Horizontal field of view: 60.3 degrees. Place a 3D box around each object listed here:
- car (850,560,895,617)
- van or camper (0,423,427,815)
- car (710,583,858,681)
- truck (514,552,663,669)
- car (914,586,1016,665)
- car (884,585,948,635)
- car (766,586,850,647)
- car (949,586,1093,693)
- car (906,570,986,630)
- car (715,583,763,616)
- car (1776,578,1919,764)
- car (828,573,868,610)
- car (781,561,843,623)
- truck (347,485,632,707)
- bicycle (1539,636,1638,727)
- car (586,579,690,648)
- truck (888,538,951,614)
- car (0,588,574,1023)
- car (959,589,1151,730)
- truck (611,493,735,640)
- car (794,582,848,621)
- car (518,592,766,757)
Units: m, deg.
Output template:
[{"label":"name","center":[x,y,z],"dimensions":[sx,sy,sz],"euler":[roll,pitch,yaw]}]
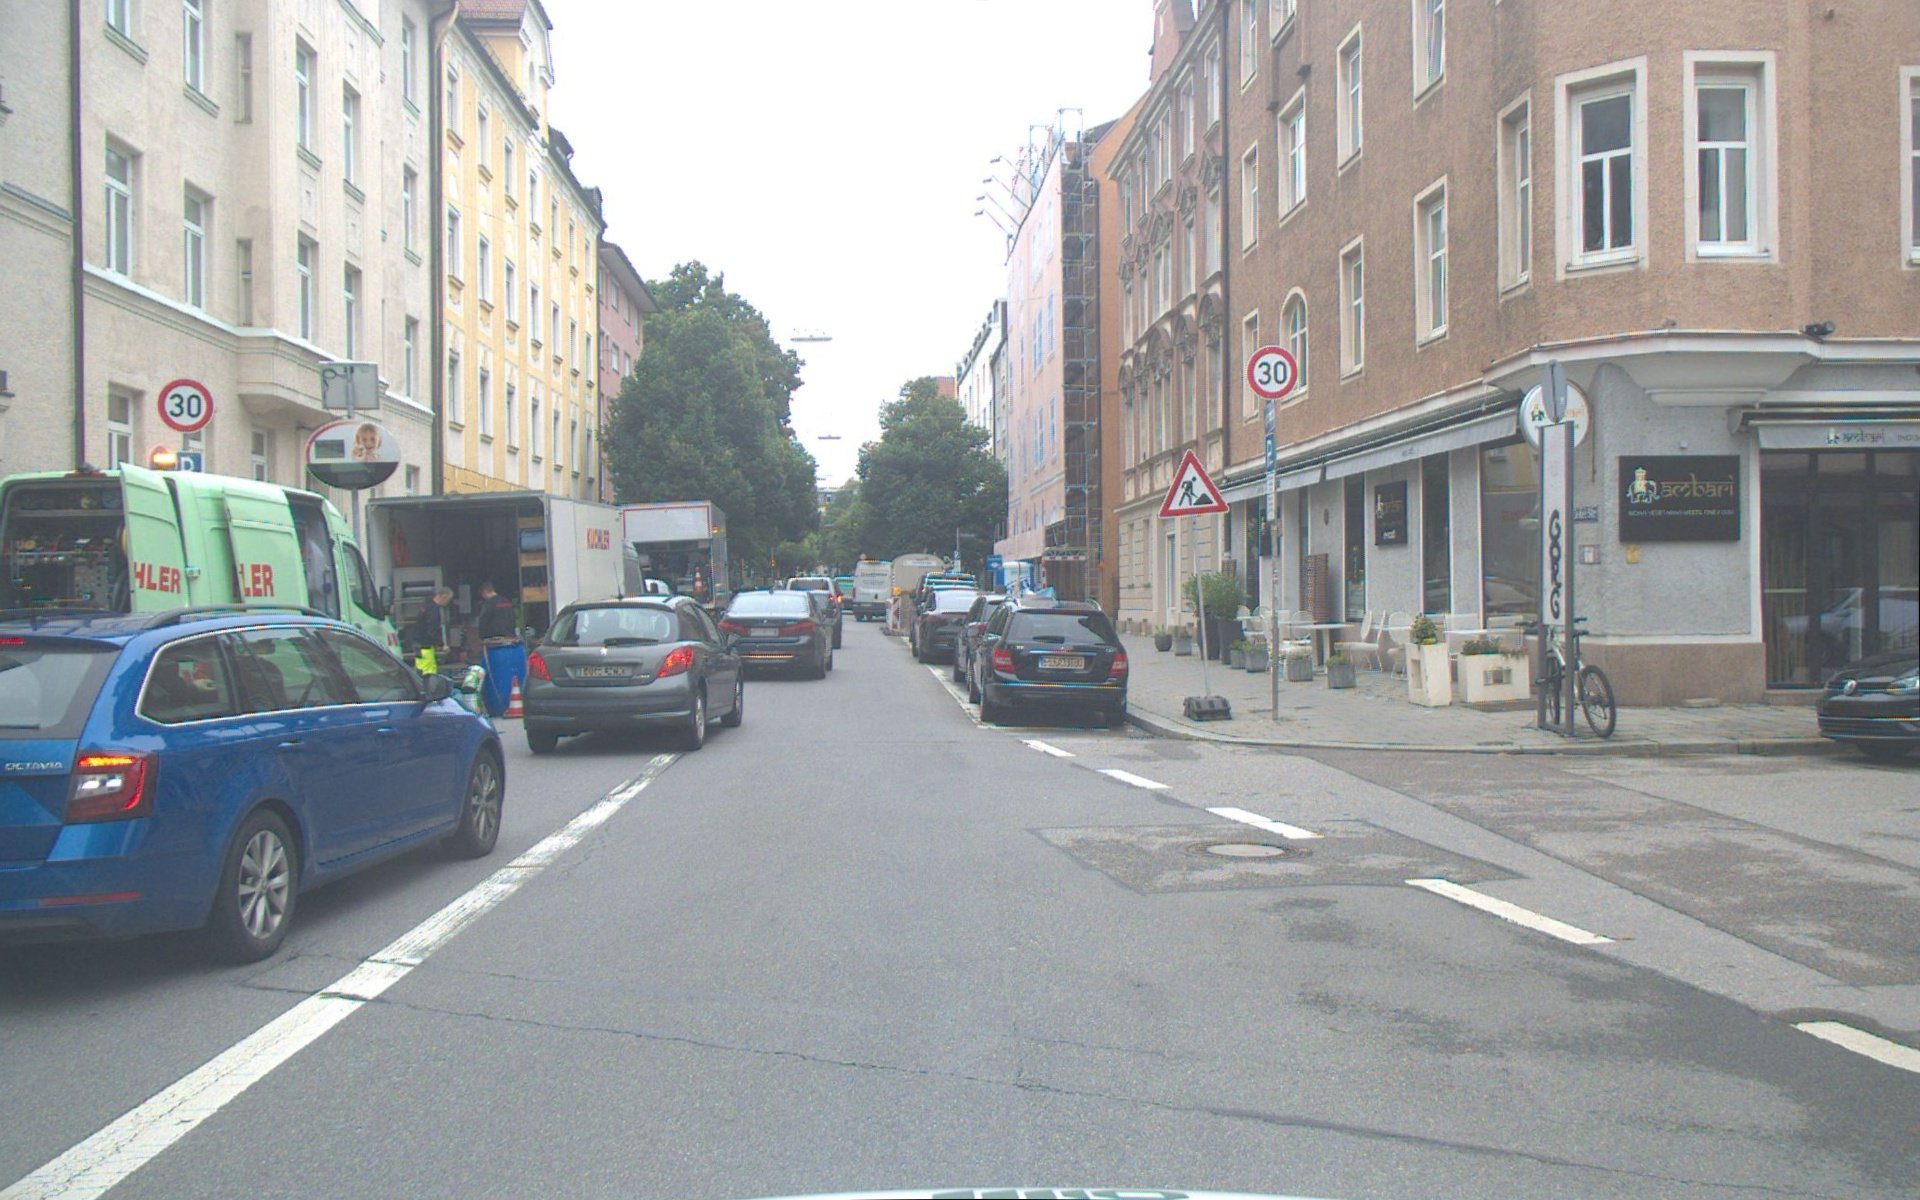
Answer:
[{"label":"car","center":[-3.991,-0.520,75.847],"dimensions":[1.900,2.523,4.781],"euler":[0,0,-1]},{"label":"van or camper","center":[-7.122,0.079,15.326],"dimensions":[2.548,2.889,6.183],"euler":[-1,1,-2]},{"label":"car","center":[-2.942,0.481,28.682],"dimensions":[1.949,1.454,4.906],"euler":[-1,1,1]},{"label":"truck","center":[-7.488,0.180,33.820],"dimensions":[2.241,2.209,4.803],"euler":[0,0,-4]},{"label":"car","center":[0.039,0.496,35.205],"dimensions":[1.808,1.454,4.303],"euler":[2,1,-4]},{"label":"car","center":[-1.427,0.289,52.781],"dimensions":[1.950,1.454,4.139],"euler":[-1,1,-3]},{"label":"car","center":[-3.906,0.392,43.085],"dimensions":[1.950,1.454,4.139],"euler":[-1,1,-3]},{"label":"car","center":[0.896,0.564,26.474],"dimensions":[1.808,1.454,4.137],"euler":[2,1,-4]},{"label":"car","center":[-0.417,-0.046,43.079],"dimensions":[1.950,1.454,4.139],"euler":[-1,1,-3]},{"label":"car","center":[-10.094,-0.025,75.795],"dimensions":[1.901,1.473,3.863],"euler":[0,0,-4]},{"label":"car","center":[9.466,0.560,14.075],"dimensions":[4.086,1.454,1.924],"euler":[-1,-2,-3]},{"label":"car","center":[-6.146,-0.465,90.857],"dimensions":[1.953,1.937,3.999],"euler":[0,0,-1]},{"label":"car","center":[-5.214,-0.325,58.719],"dimensions":[1.950,2.111,4.139],"euler":[-1,1,-3]},{"label":"truck","center":[-6.969,-0.128,25.614],"dimensions":[2.718,2.923,7.197],"euler":[-1,1,-4]},{"label":"bicycle","center":[6.119,0.777,16.159],"dimensions":[0.447,0.819,1.326],"euler":[0,0,-1]},{"label":"car","center":[-7.954,0.313,41.181],"dimensions":[1.950,1.639,4.138],"euler":[0,0,-3]},{"label":"truck","center":[-1.745,-0.987,68.816],"dimensions":[2.442,3.025,5.324],"euler":[0,0,-4]},{"label":"car","center":[-3.593,0.726,8.060],"dimensions":[1.945,1.479,4.737],"euler":[-1,0,5]},{"label":"car","center":[1.069,0.654,20.606],"dimensions":[1.808,1.454,4.180],"euler":[2,1,-4]},{"label":"truck","center":[-8.330,-0.943,48.827],"dimensions":[2.953,4.021,6.989],"euler":[0,0,-4]},{"label":"car","center":[-5.502,0.041,65.904],"dimensions":[1.950,1.454,4.139],"euler":[-1,1,-3]},{"label":"car","center":[-3.163,0.677,17.233],"dimensions":[1.722,1.486,4.074],"euler":[-1,0,1]}]
